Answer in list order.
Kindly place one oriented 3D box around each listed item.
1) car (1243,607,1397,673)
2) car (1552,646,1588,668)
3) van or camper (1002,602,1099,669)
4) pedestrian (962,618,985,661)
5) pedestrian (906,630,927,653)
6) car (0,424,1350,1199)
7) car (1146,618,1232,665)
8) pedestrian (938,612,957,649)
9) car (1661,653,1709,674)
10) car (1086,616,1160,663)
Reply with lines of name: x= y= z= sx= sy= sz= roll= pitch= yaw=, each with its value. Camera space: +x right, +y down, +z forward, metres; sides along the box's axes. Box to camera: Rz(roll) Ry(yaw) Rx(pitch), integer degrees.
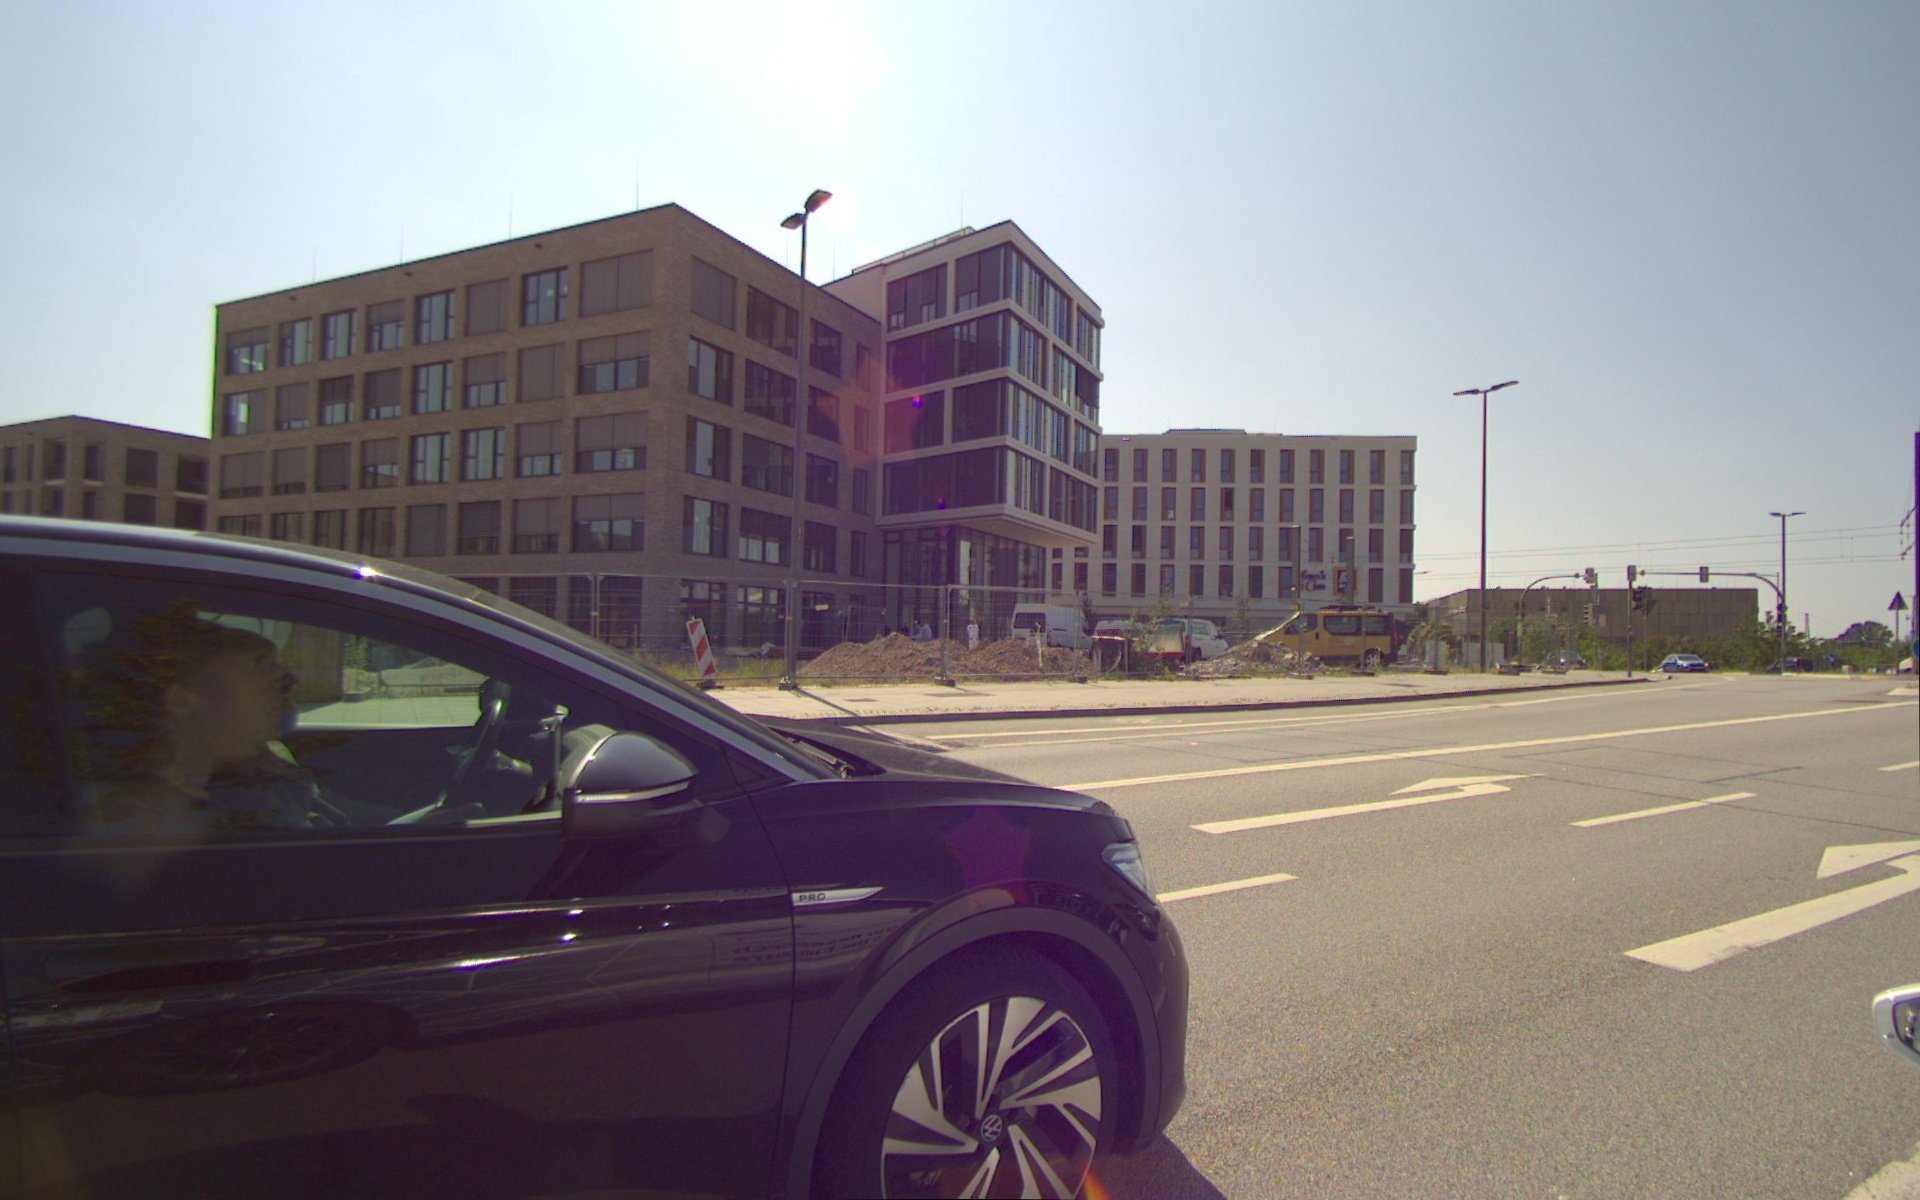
car: x=11.990 y=1.293 z=33.747 sx=4.533 sy=1.988 sz=1.991 roll=2 pitch=0 yaw=9
car: x=44.382 y=4.137 z=73.134 sx=1.646 sy=1.496 sz=3.405 roll=0 pitch=-1 yaw=22
van or camper: x=4.146 y=1.550 z=45.097 sx=2.273 sy=2.772 sz=4.975 roll=2 pitch=0 yaw=32
pedestrian: x=0.567 y=1.659 z=42.361 sx=0.734 sy=1.741 sz=0.699 roll=2 pitch=0 yaw=16
pedestrian: x=-2.051 y=1.945 z=47.347 sx=0.734 sy=1.041 sz=0.699 roll=2 pitch=0 yaw=16
car: x=-1.306 y=0.610 z=2.294 sx=4.315 sy=1.663 sz=1.793 roll=2 pitch=0 yaw=-30
car: x=9.660 y=1.687 z=42.161 sx=1.841 sy=1.797 sz=4.637 roll=2 pitch=0 yaw=36
pedestrian: x=-0.602 y=1.489 z=48.902 sx=0.734 sy=1.741 sz=0.699 roll=2 pitch=0 yaw=16
car: x=52.335 y=4.585 z=72.542 sx=1.787 sy=1.348 sz=4.000 roll=2 pitch=-2 yaw=20
car: x=7.116 y=1.693 z=43.664 sx=1.760 sy=1.881 sz=3.841 roll=2 pitch=0 yaw=32
